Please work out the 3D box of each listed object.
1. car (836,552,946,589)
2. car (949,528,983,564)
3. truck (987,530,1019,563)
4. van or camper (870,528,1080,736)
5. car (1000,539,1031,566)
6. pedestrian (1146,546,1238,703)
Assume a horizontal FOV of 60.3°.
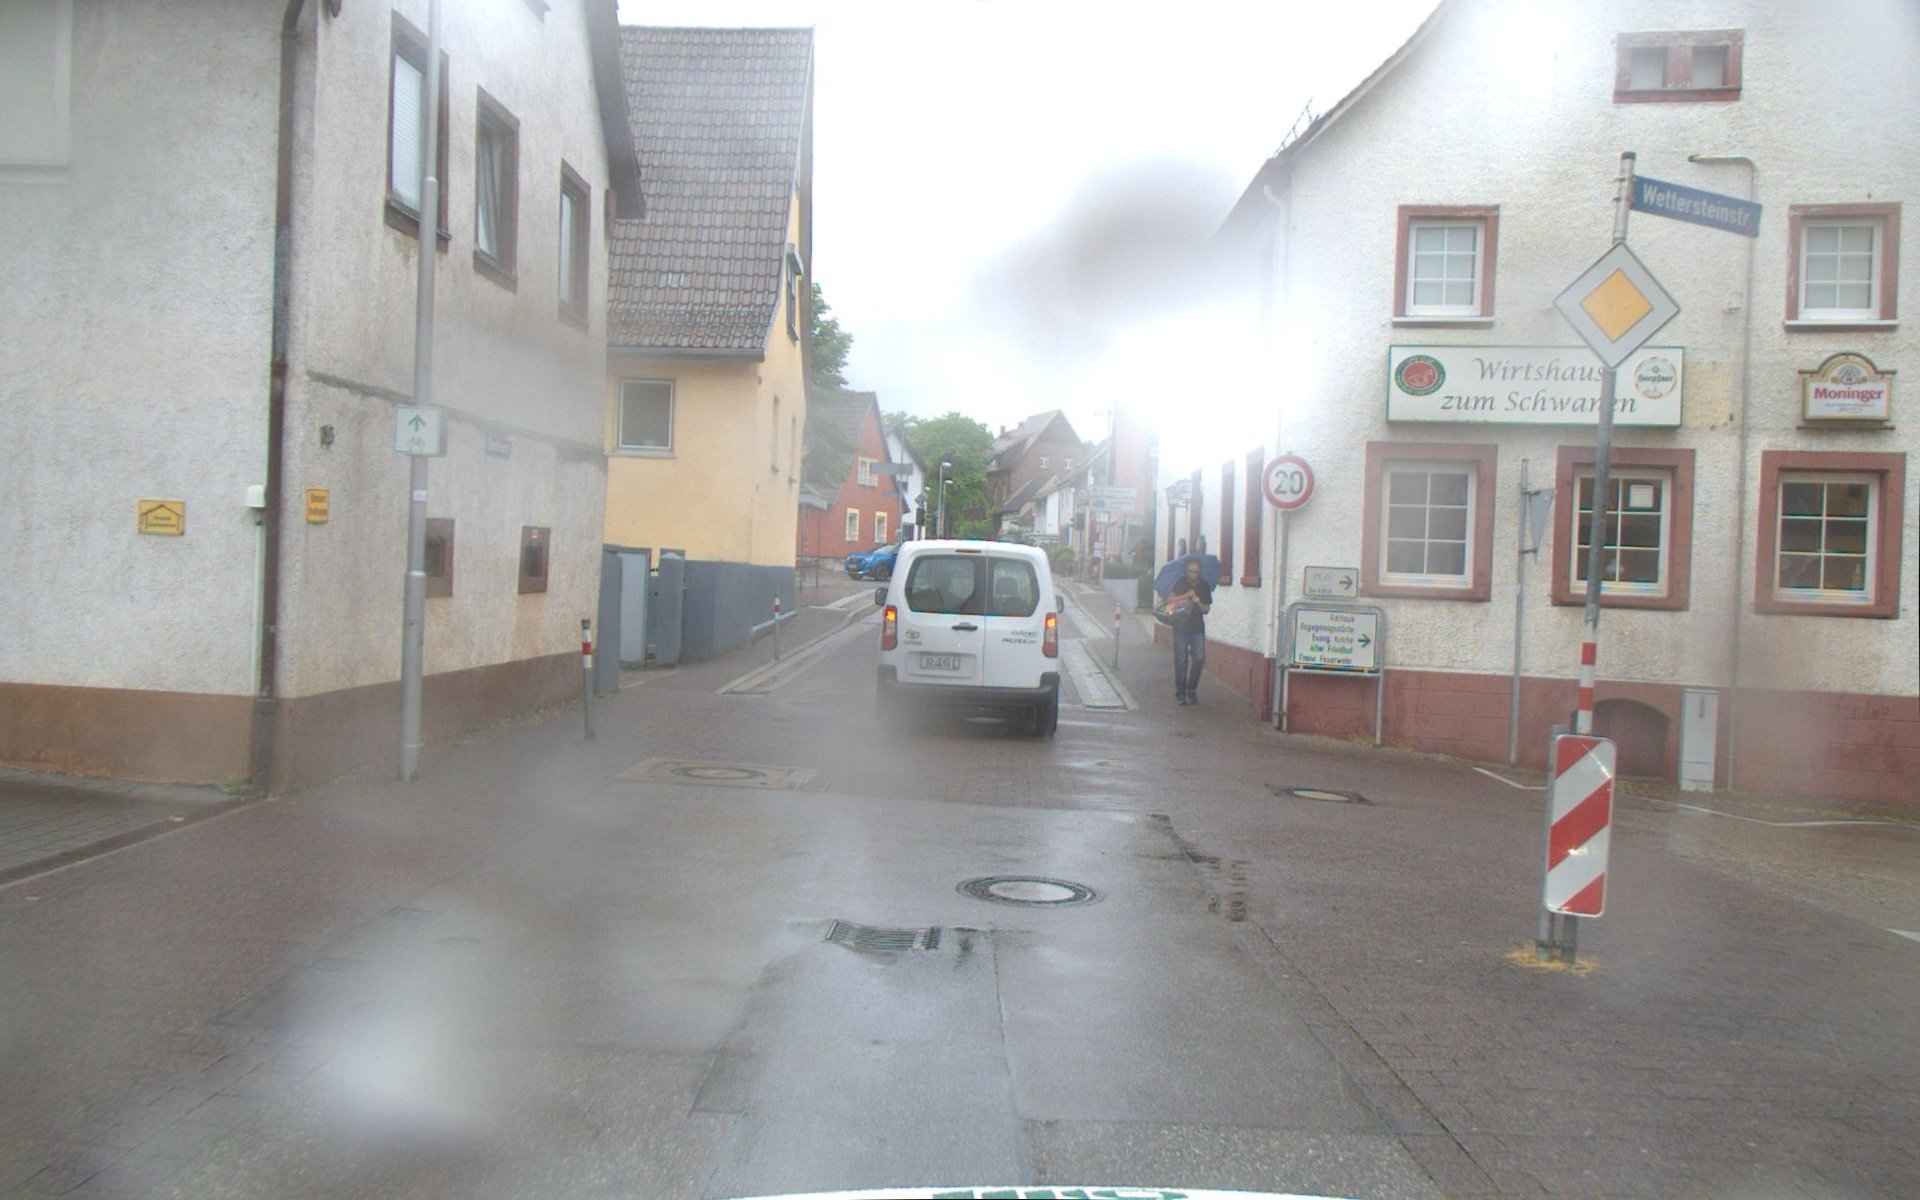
[{"bbox_3d":[-2.757,-1.176,66.730,3.955,1.397,2.084,1,1,-36],"label":"car"},{"bbox_3d":[0.327,-2.925,89.080,1.775,1.809,4.018,1,2,0],"label":"car"},{"bbox_3d":[3.365,-4.191,130.017,2.303,2.468,4.949,2,1,-1],"label":"truck"},{"bbox_3d":[0.108,0.272,17.210,1.904,1.883,3.999,1,1,-1],"label":"van or camper"},{"bbox_3d":[3.903,-3.341,116.117,1.953,1.777,4.000,2,1,-1],"label":"car"},{"bbox_3d":[2.726,0.271,19.566,0.973,1.765,0.812,2,3,5],"label":"pedestrian"}]
